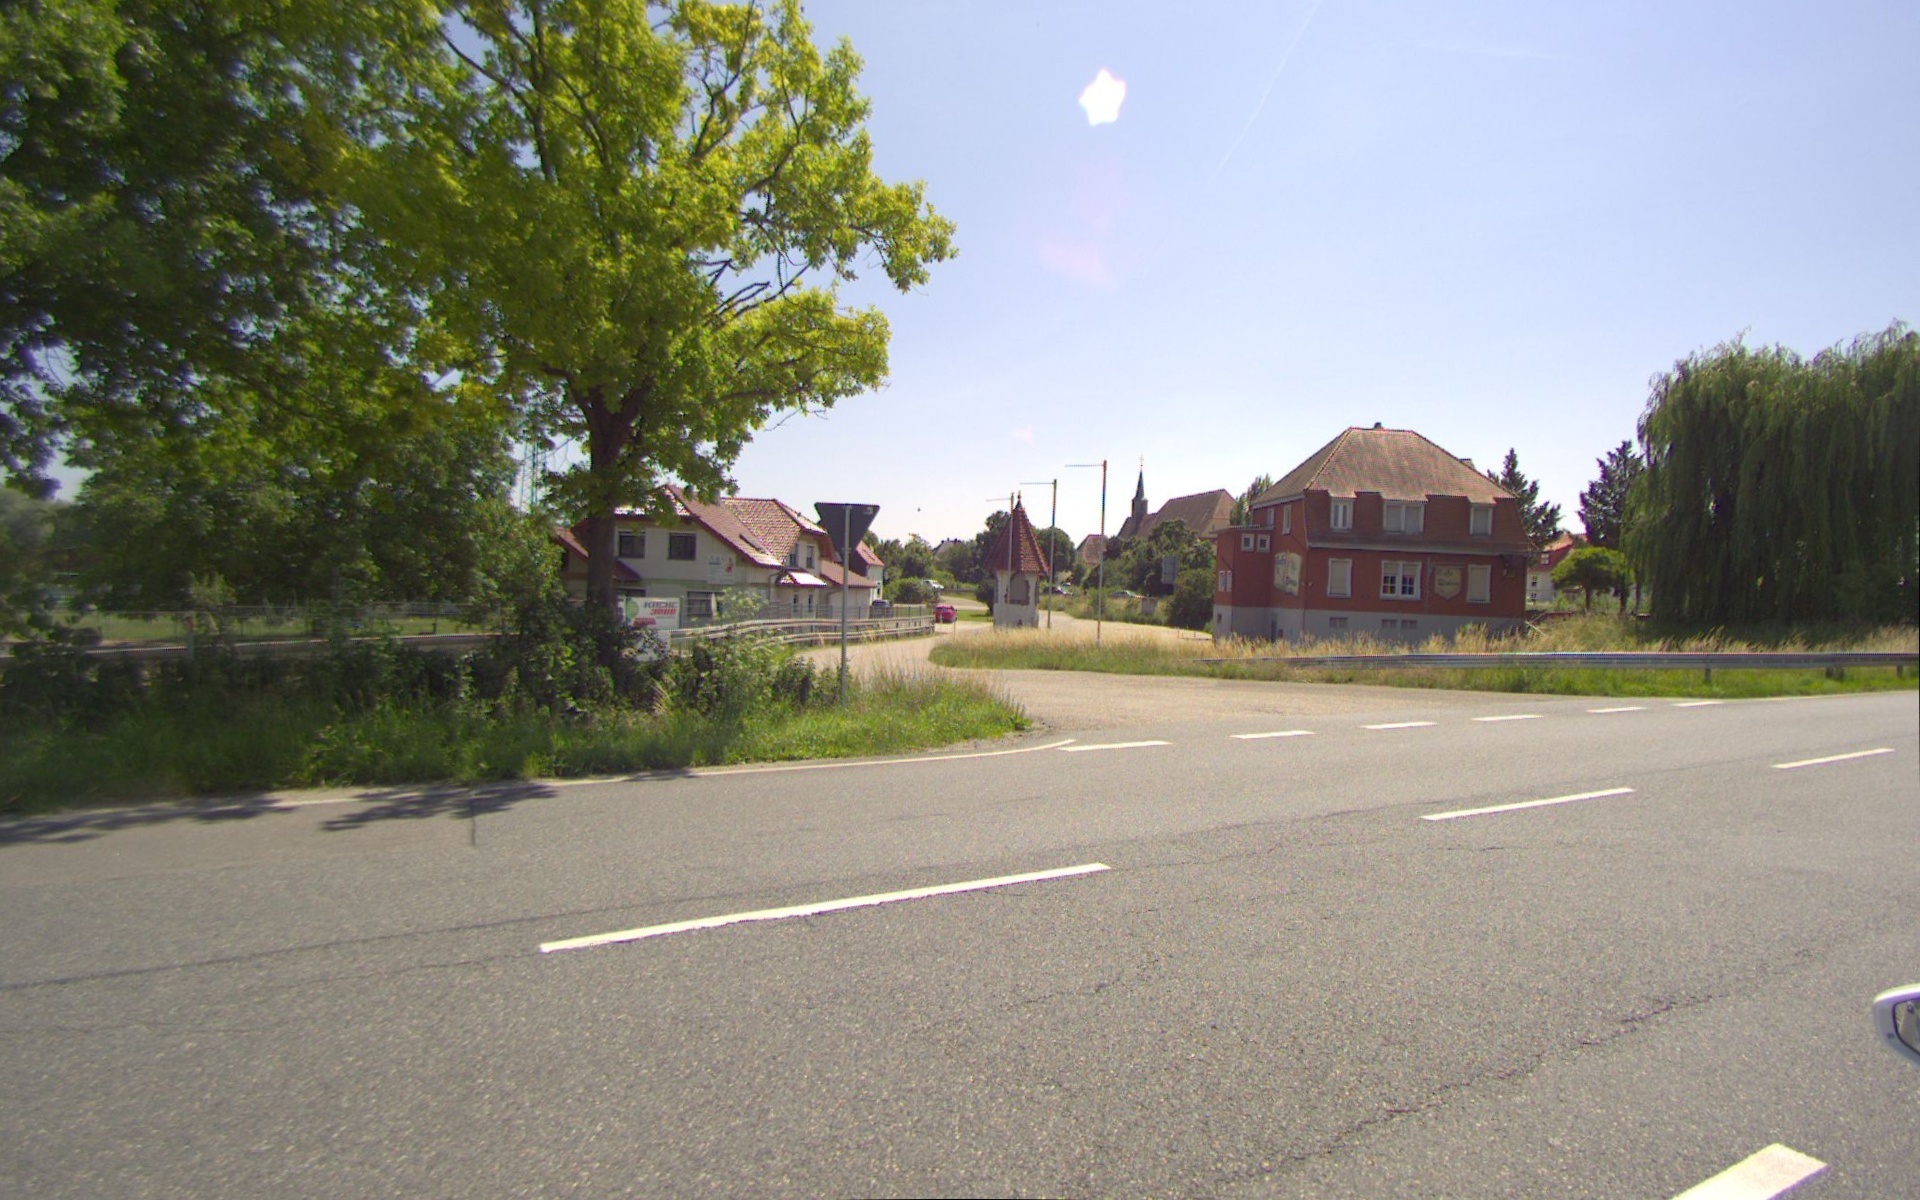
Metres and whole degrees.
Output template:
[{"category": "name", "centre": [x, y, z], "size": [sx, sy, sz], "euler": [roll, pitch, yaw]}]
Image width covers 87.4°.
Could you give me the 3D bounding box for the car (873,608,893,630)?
[{"category": "car", "centre": [-6.731, 1.629, 87.942], "size": [1.602, 1.840, 3.508], "euler": [0, 1, -3]}]

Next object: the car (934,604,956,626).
[{"category": "car", "centre": [-1.316, 1.276, 86.828], "size": [1.769, 1.750, 3.865], "euler": [0, 1, -3]}]

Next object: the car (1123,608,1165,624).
[{"category": "car", "centre": [17.745, 1.536, 96.690], "size": [3.919, 1.461, 1.590], "euler": [0, 0, 12]}]
